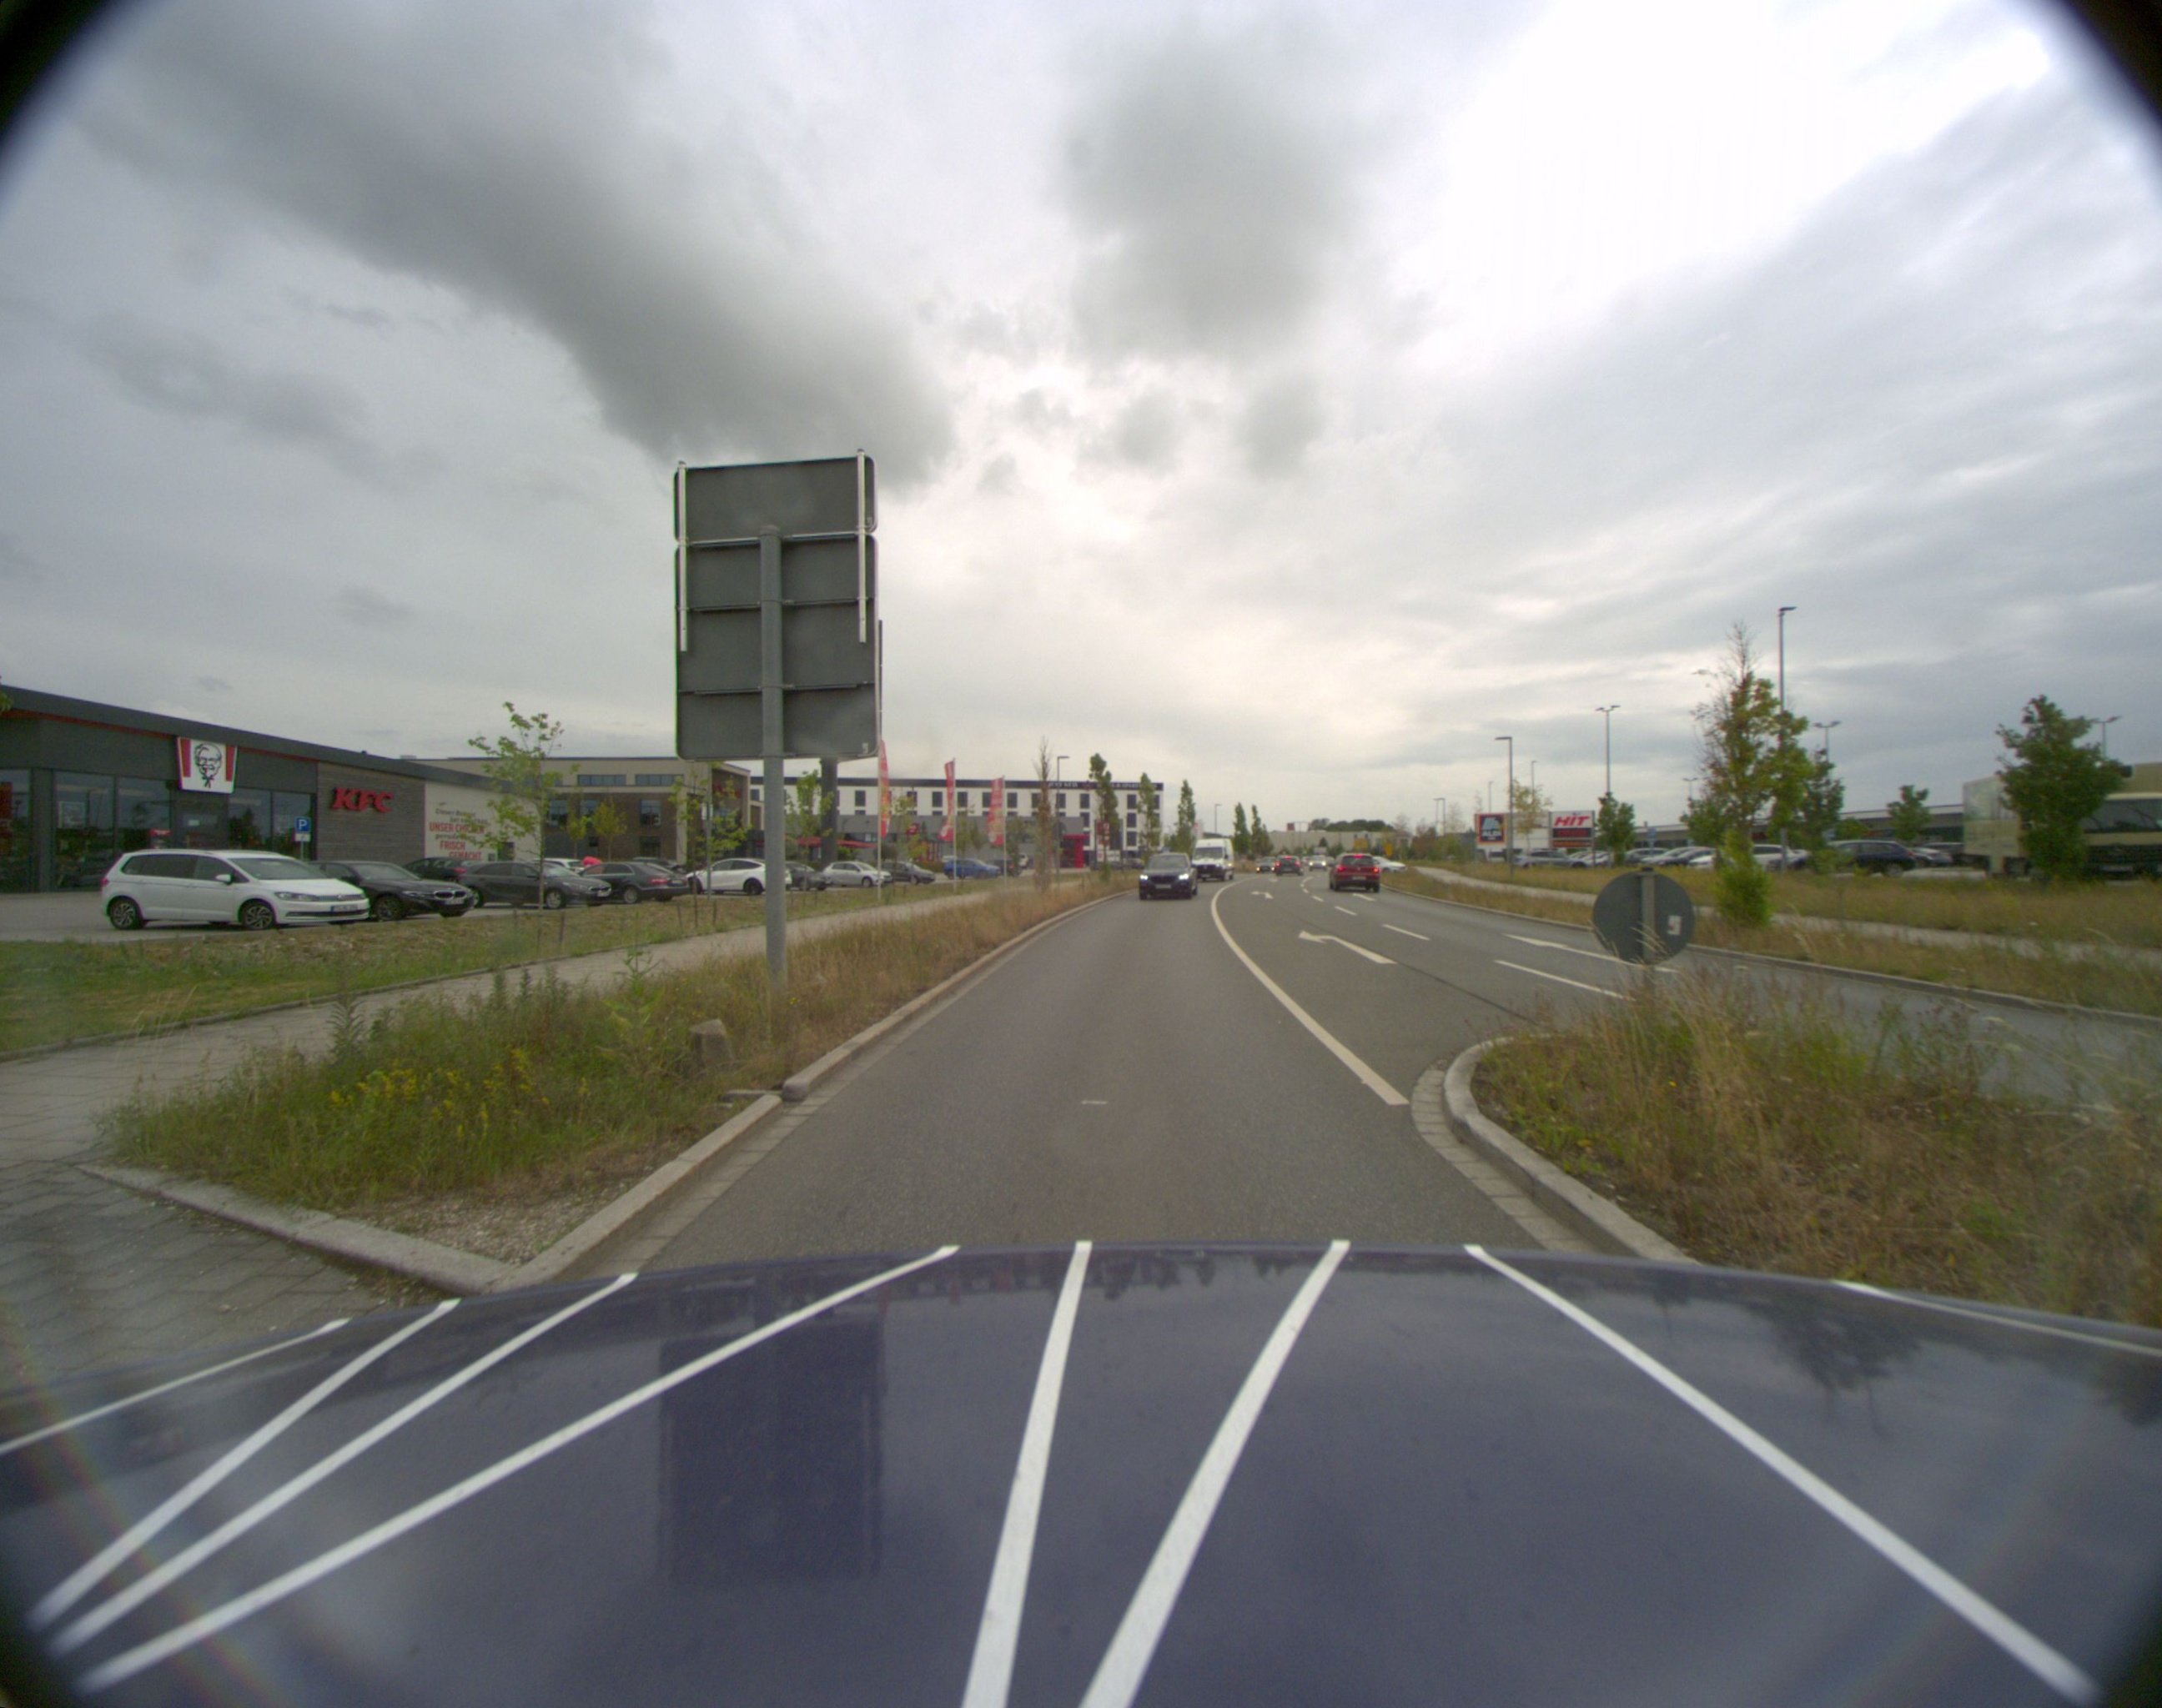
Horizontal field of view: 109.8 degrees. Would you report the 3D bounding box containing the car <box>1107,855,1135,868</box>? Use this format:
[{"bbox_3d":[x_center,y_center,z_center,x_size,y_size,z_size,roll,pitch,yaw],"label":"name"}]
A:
[{"bbox_3d":[4.522,0.823,84.912,1.866,1.428,4.887,0,0,18],"label":"car"}]

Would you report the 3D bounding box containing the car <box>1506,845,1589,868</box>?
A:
[{"bbox_3d":[32.165,0.176,52.540,4.602,1.552,2.003,0,0,20],"label":"car"}]

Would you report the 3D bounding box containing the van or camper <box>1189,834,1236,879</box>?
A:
[{"bbox_3d":[8.255,0.179,47.128,2.261,2.601,5.704,0,0,16],"label":"van or camper"}]

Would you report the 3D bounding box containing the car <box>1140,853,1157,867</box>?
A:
[{"bbox_3d":[8.655,0.747,96.997,1.765,1.676,4.415,0,0,10],"label":"car"}]

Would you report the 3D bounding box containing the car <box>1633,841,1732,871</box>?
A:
[{"bbox_3d":[36.498,0.113,46.241,4.247,1.713,2.031,-1,0,17],"label":"car"}]

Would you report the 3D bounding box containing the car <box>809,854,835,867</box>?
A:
[{"bbox_3d":[-31.109,0.710,91.376,2.081,1.510,4.573,0,0,-7],"label":"car"}]

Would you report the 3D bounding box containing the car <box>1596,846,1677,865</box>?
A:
[{"bbox_3d":[40.201,0.124,55.142,4.361,1.383,2.169,-1,0,23],"label":"car"}]

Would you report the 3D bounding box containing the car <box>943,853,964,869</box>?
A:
[{"bbox_3d":[-13.816,0.755,82.386,2.000,1.687,4.789,-1,0,-8],"label":"car"}]

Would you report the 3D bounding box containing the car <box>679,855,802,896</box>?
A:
[{"bbox_3d":[-14.902,0.898,33.358,4.568,1.635,2.090,1,0,11],"label":"car"}]

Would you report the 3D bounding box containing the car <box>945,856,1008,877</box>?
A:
[{"bbox_3d":[-7.815,0.901,56.855,4.266,1.511,1.969,-1,0,21],"label":"car"}]

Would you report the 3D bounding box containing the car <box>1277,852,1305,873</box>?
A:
[{"bbox_3d":[15.362,0.604,55.551,1.831,1.412,4.251,-1,0,17],"label":"car"}]

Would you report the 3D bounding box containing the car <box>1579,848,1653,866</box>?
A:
[{"bbox_3d":[41.427,0.273,58.956,4.317,1.332,2.030,0,0,18],"label":"car"}]

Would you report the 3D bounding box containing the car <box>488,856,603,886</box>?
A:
[{"bbox_3d":[-28.060,0.875,39.908,4.572,1.510,2.081,0,0,2],"label":"car"}]

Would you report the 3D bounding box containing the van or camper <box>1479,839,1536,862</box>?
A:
[{"bbox_3d":[53.796,-0.440,96.016,5.861,2.783,2.245,0,1,12],"label":"van or camper"}]

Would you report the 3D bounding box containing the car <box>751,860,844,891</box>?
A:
[{"bbox_3d":[-14.324,1.055,38.414,3.992,1.476,1.942,0,1,15],"label":"car"}]

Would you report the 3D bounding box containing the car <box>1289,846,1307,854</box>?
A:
[{"bbox_3d":[54.632,-1.081,191.298,4.003,2.002,1.640,-1,0,-17],"label":"car"}]

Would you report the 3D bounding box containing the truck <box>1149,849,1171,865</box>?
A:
[{"bbox_3d":[11.848,0.507,113.518,2.230,2.312,8.224,0,0,14],"label":"truck"}]

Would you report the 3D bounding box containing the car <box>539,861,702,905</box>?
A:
[{"bbox_3d":[-15.884,0.976,26.366,4.526,1.460,2.033,0,0,6],"label":"car"}]

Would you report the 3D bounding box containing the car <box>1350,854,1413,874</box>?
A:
[{"bbox_3d":[22.894,0.742,58.097,1.889,1.460,4.182,-1,1,-32],"label":"car"}]

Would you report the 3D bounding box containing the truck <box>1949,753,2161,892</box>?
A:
[{"bbox_3d":[29.445,-0.824,22.974,2.851,3.520,8.447,-1,0,39],"label":"truck"}]

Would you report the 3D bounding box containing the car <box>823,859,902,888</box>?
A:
[{"bbox_3d":[-12.352,1.068,42.952,3.866,1.473,1.905,1,1,17],"label":"car"}]

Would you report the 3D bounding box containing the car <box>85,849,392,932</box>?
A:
[{"bbox_3d":[-17.628,0.738,16.068,4.358,1.630,1.938,0,0,1],"label":"car"}]

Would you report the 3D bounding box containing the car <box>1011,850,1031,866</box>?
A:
[{"bbox_3d":[-7.517,0.514,94.812,2.000,1.975,4.632,-1,0,-10],"label":"car"}]

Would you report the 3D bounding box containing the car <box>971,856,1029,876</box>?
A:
[{"bbox_3d":[-6.293,0.904,59.045,3.990,1.485,1.985,-1,0,23],"label":"car"}]

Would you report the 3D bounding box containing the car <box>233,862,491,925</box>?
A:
[{"bbox_3d":[-17.432,0.930,18.586,4.477,1.428,2.074,0,0,3],"label":"car"}]

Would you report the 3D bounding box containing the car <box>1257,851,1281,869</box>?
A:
[{"bbox_3d":[16.946,0.517,68.292,1.754,1.575,4.005,-1,0,18],"label":"car"}]

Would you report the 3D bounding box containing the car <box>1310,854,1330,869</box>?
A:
[{"bbox_3d":[23.063,0.734,73.392,1.704,1.429,4.037,0,0,15],"label":"car"}]

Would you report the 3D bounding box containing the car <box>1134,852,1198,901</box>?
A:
[{"bbox_3d":[3.219,0.793,28.184,1.997,1.654,4.004,-2,-1,11],"label":"car"}]

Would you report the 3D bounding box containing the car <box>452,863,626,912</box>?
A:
[{"bbox_3d":[-16.655,0.988,23.485,4.092,1.429,1.944,0,0,5],"label":"car"}]

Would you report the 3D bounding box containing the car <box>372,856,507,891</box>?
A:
[{"bbox_3d":[-29.107,0.881,34.574,4.375,1.510,2.047,0,0,0],"label":"car"}]

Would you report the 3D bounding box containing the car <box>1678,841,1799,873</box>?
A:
[{"bbox_3d":[33.507,0.167,38.853,4.253,1.550,1.991,0,0,12],"label":"car"}]

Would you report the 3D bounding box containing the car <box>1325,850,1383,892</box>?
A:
[{"bbox_3d":[11.888,0.703,33.282,1.801,1.659,4.331,2,0,12],"label":"car"}]

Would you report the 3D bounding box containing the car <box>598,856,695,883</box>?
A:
[{"bbox_3d":[-25.486,0.919,44.657,4.573,1.510,1.977,0,0,0],"label":"car"}]

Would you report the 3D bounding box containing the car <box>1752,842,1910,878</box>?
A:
[{"bbox_3d":[31.081,0.274,31.649,4.237,1.426,2.000,0,0,15],"label":"car"}]

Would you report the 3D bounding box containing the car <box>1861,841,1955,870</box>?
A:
[{"bbox_3d":[54.527,0.109,50.195,1.998,1.805,4.001,0,0,4],"label":"car"}]

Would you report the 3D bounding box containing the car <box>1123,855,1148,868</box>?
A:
[{"bbox_3d":[6.560,0.850,90.881,1.996,1.488,4.613,0,1,16],"label":"car"}]

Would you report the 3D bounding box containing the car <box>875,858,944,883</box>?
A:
[{"bbox_3d":[-10.717,1.018,47.488,3.762,1.485,1.892,-1,0,18],"label":"car"}]

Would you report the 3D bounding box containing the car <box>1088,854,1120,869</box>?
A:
[{"bbox_3d":[2.452,0.786,79.642,1.964,1.451,4.839,0,0,20],"label":"car"}]

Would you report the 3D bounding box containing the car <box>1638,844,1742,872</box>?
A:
[{"bbox_3d":[34.989,0.255,43.788,4.246,1.504,2.049,-1,0,22],"label":"car"}]
